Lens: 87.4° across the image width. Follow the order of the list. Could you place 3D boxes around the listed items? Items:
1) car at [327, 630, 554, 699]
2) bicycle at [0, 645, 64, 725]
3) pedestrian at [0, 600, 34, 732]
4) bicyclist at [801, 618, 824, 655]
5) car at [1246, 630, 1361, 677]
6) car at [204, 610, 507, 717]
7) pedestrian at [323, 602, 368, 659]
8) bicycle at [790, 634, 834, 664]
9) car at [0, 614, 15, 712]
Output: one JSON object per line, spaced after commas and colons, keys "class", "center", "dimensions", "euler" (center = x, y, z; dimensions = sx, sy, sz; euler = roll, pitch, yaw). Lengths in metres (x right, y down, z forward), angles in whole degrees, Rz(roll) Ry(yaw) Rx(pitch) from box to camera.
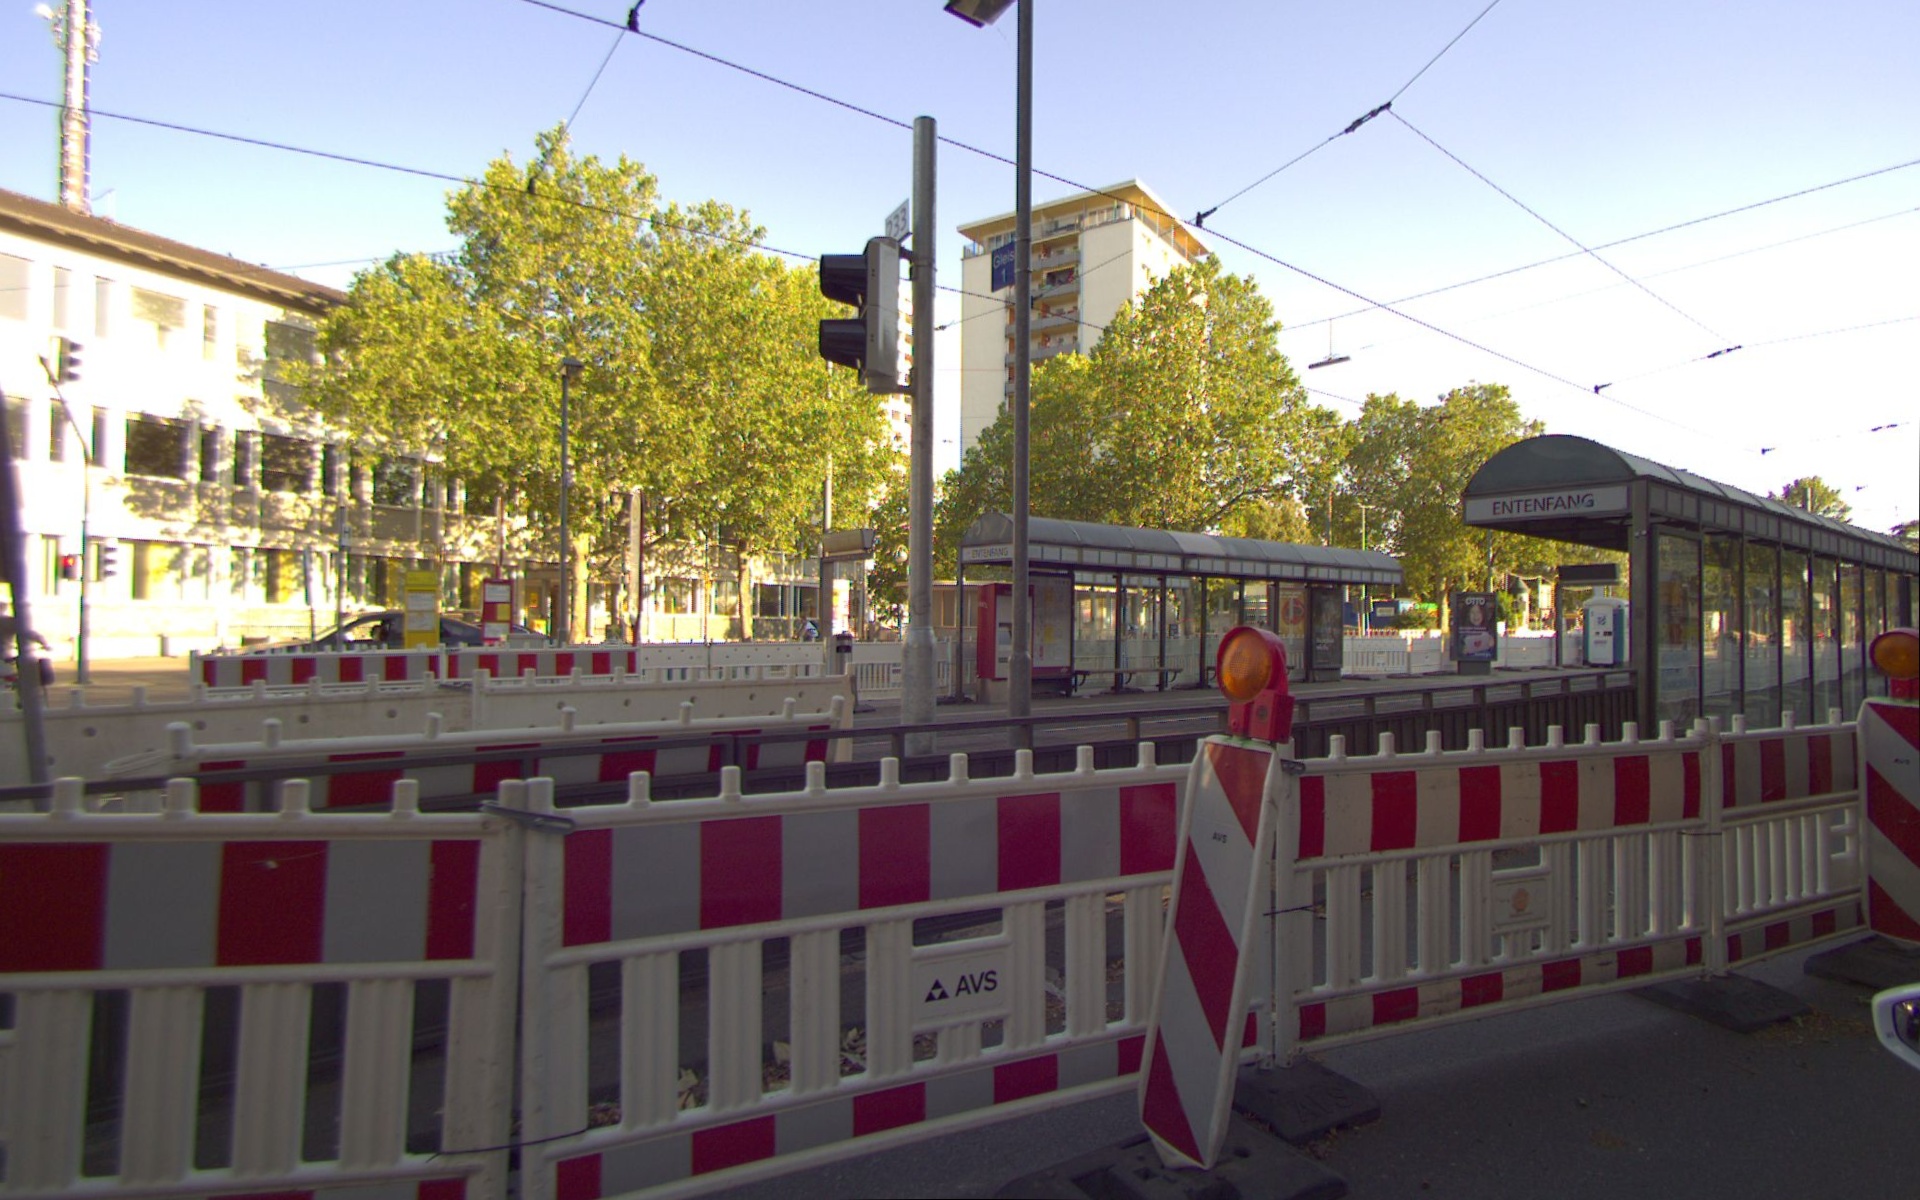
{"class": "car", "center": [-12.453, 1.490, 24.288], "dimensions": [1.973, 1.467, 4.511], "euler": [-2, -2, 43]}
{"class": "bicycle", "center": [-12.540, 1.110, 13.478], "dimensions": [0.317, 0.978, 1.571], "euler": [1, -1, -25]}
{"class": "pedestrian", "center": [-13.153, 0.889, 13.700], "dimensions": [0.588, 1.782, 0.593], "euler": [1, -1, -26]}
{"class": "bicyclist", "center": [-4.896, 1.211, 33.318], "dimensions": [0.657, 1.189, 0.407], "euler": [1, -2, -41]}
{"class": "car", "center": [13.426, 2.038, 39.159], "dimensions": [4.645, 1.676, 1.934], "euler": [1, -2, -36]}
{"class": "car", "center": [-10.934, 1.075, 18.336], "dimensions": [4.547, 1.689, 1.880], "euler": [2, 0, -38]}
{"class": "pedestrian", "center": [-19.308, 0.950, 31.572], "dimensions": [0.792, 1.751, 0.885], "euler": [0, -1, 21]}
{"class": "bicycle", "center": [-4.896, 1.625, 33.315], "dimensions": [1.450, 0.980, 0.407], "euler": [2, -2, -41]}
{"class": "car", "center": [-18.505, 1.070, 16.116], "dimensions": [4.646, 1.676, 1.934], "euler": [1, -2, -37]}
